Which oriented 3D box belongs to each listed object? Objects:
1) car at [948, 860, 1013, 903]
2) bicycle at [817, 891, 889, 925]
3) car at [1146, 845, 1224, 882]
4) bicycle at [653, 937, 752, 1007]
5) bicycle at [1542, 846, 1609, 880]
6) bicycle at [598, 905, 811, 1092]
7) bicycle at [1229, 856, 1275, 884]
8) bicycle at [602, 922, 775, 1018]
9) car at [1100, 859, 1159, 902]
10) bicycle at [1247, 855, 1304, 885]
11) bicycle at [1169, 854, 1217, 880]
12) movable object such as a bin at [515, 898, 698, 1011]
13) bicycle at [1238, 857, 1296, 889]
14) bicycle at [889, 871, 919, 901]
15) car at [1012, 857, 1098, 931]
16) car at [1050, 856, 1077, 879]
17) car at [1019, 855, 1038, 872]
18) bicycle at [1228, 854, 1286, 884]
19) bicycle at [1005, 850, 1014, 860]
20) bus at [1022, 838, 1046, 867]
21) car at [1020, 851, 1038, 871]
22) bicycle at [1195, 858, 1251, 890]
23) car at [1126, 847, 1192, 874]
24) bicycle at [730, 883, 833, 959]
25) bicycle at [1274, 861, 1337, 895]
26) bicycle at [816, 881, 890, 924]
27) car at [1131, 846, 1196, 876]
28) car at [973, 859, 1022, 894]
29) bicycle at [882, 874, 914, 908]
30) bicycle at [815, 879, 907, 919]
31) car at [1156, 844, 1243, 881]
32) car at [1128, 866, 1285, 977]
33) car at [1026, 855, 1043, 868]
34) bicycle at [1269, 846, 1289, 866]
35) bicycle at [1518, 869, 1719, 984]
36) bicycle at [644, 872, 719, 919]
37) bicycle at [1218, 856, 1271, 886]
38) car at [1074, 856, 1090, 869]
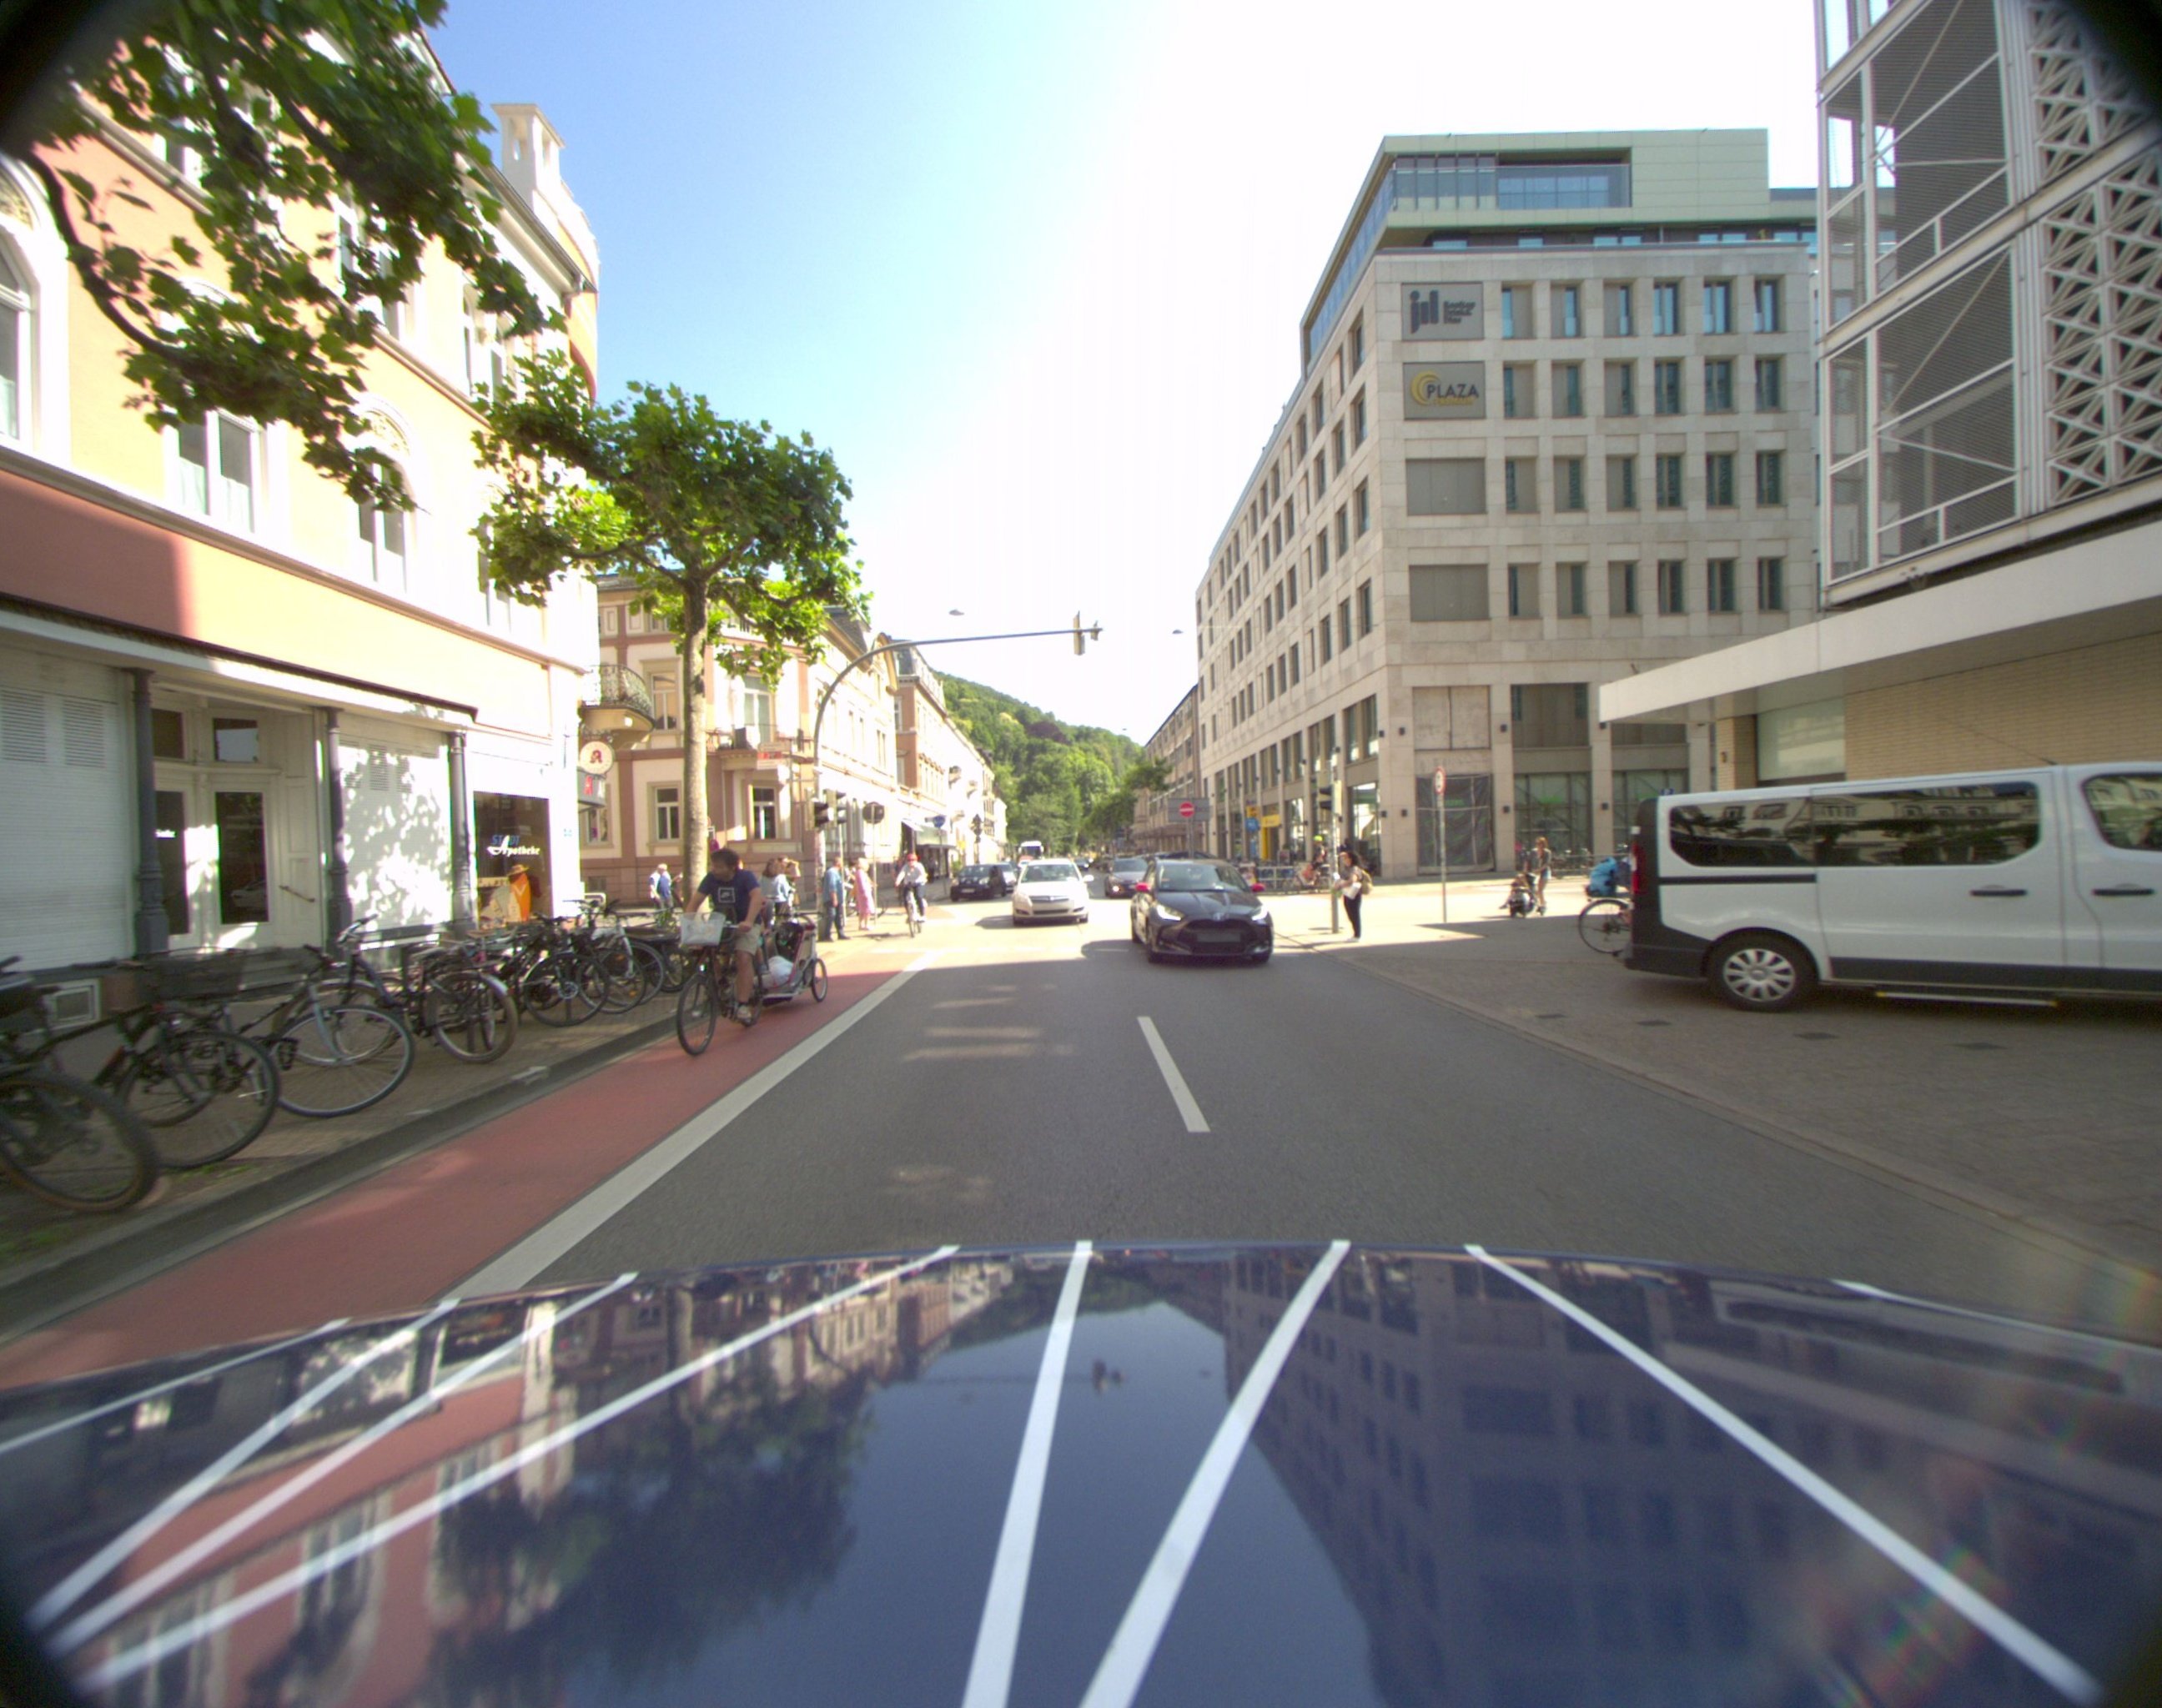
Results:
[{"bbox_3d":[-4.017,1.065,30.889,1.632,1.470,3.733,-3,1,8],"label":"car"},{"bbox_3d":[-6.425,1.515,21.446,1.826,0.839,0.501,-3,1,0],"label":"bicycle"},{"bbox_3d":[5.843,0.533,42.886,4.166,1.627,2.103,-6,1,7],"label":"car"},{"bbox_3d":[-5.470,1.686,11.018,1.142,0.432,1.850,9,4,-27],"label":"bicycle"},{"bbox_3d":[18.070,0.314,27.785,2.063,1.121,0.639,-2,4,-1],"label":"bicycle"},{"bbox_3d":[-3.252,1.166,6.883,0.734,1.261,2.282,-3,-1,0],"label":"bicycle"},{"bbox_3d":[7.596,0.729,33.698,1.862,1.120,0.485,-4,0,23],"label":"bicycle"},{"bbox_3d":[-5.226,1.544,10.219,1.855,0.396,1.014,-10,36,3],"label":"bicycle"},{"bbox_3d":[1.736,0.936,28.315,1.734,1.389,4.105,-2,1,-2],"label":"car"},{"bbox_3d":[7.749,0.658,30.311,2.059,1.120,0.648,-2,0,25],"label":"bicycle"},{"bbox_3d":[5.316,0.623,36.134,2.146,1.120,0.485,-4,0,0],"label":"bicycle"},{"bbox_3d":[-5.587,1.183,8.965,1.853,1.182,0.653,-4,0,14],"label":"movable object such as a bin"},{"bbox_3d":[7.125,0.732,29.156,2.058,1.162,0.606,-1,2,35],"label":"bicycle"},{"bbox_3d":[-7.311,1.309,31.450,0.748,1.111,1.918,-3,0,-1],"label":"bicycle"},{"bbox_3d":[-0.688,0.864,18.509,1.791,1.484,4.366,-2,0,-4],"label":"car"},{"bbox_3d":[-1.185,0.923,51.448,1.775,1.469,4.106,0,-1,-2],"label":"car"},{"bbox_3d":[-5.360,0.956,77.906,1.799,1.516,4.262,-5,1,-4],"label":"car"},{"bbox_3d":[7.604,0.654,32.813,2.324,1.120,0.563,-4,1,23],"label":"bicycle"},{"bbox_3d":[-8.046,0.094,85.314,0.743,1.120,2.573,0,1,0],"label":"bicycle"},{"bbox_3d":[-6.058,-0.232,99.013,2.924,3.516,12.495,-1,1,-3],"label":"bus"},{"bbox_3d":[-5.676,0.795,83.609,1.703,1.901,4.606,-6,0,-4],"label":"car"},{"bbox_3d":[5.513,0.791,29.589,2.059,1.166,0.606,-2,2,44],"label":"bicycle"},{"bbox_3d":[5.840,0.485,56.891,4.493,1.424,1.865,-7,0,18],"label":"car"},{"bbox_3d":[-5.122,1.156,12.947,1.852,1.181,0.718,-6,-3,37],"label":"bicycle"},{"bbox_3d":[7.879,0.836,26.723,1.991,1.120,0.799,-2,0,6],"label":"bicycle"},{"bbox_3d":[-6.451,1.365,21.524,1.844,1.120,0.666,-2,2,3],"label":"bicycle"},{"bbox_3d":[5.777,0.473,53.382,4.029,1.584,1.822,-7,0,31],"label":"car"},{"bbox_3d":[-3.951,1.037,36.790,1.957,1.416,4.885,-4,0,-2],"label":"car"},{"bbox_3d":[-6.734,1.343,28.062,0.664,1.111,1.991,-1,1,0],"label":"bicycle"},{"bbox_3d":[-6.652,1.355,23.085,2.572,1.120,0.628,-2,-1,-5],"label":"bicycle"},{"bbox_3d":[6.154,0.439,39.482,4.026,1.593,1.961,-4,1,22],"label":"car"},{"bbox_3d":[1.786,0.925,12.110,1.868,1.469,4.107,0,-1,1],"label":"car"},{"bbox_3d":[-5.445,0.856,88.632,1.869,1.479,4.413,-2,0,-4],"label":"car"},{"bbox_3d":[12.035,0.115,46.185,0.497,1.101,2.161,-4,0,-1],"label":"bicycle"},{"bbox_3d":[6.799,0.851,9.802,0.736,1.260,2.210,-3,0,-9],"label":"bicycle"},{"bbox_3d":[-13.352,1.336,25.521,0.750,1.121,3.237,0,5,0],"label":"bicycle"},{"bbox_3d":[6.945,0.724,32.254,2.060,1.120,0.563,-4,0,23],"label":"bicycle"},{"bbox_3d":[0.088,0.933,83.698,1.734,1.389,4.106,-2,0,-1],"label":"car"}]
